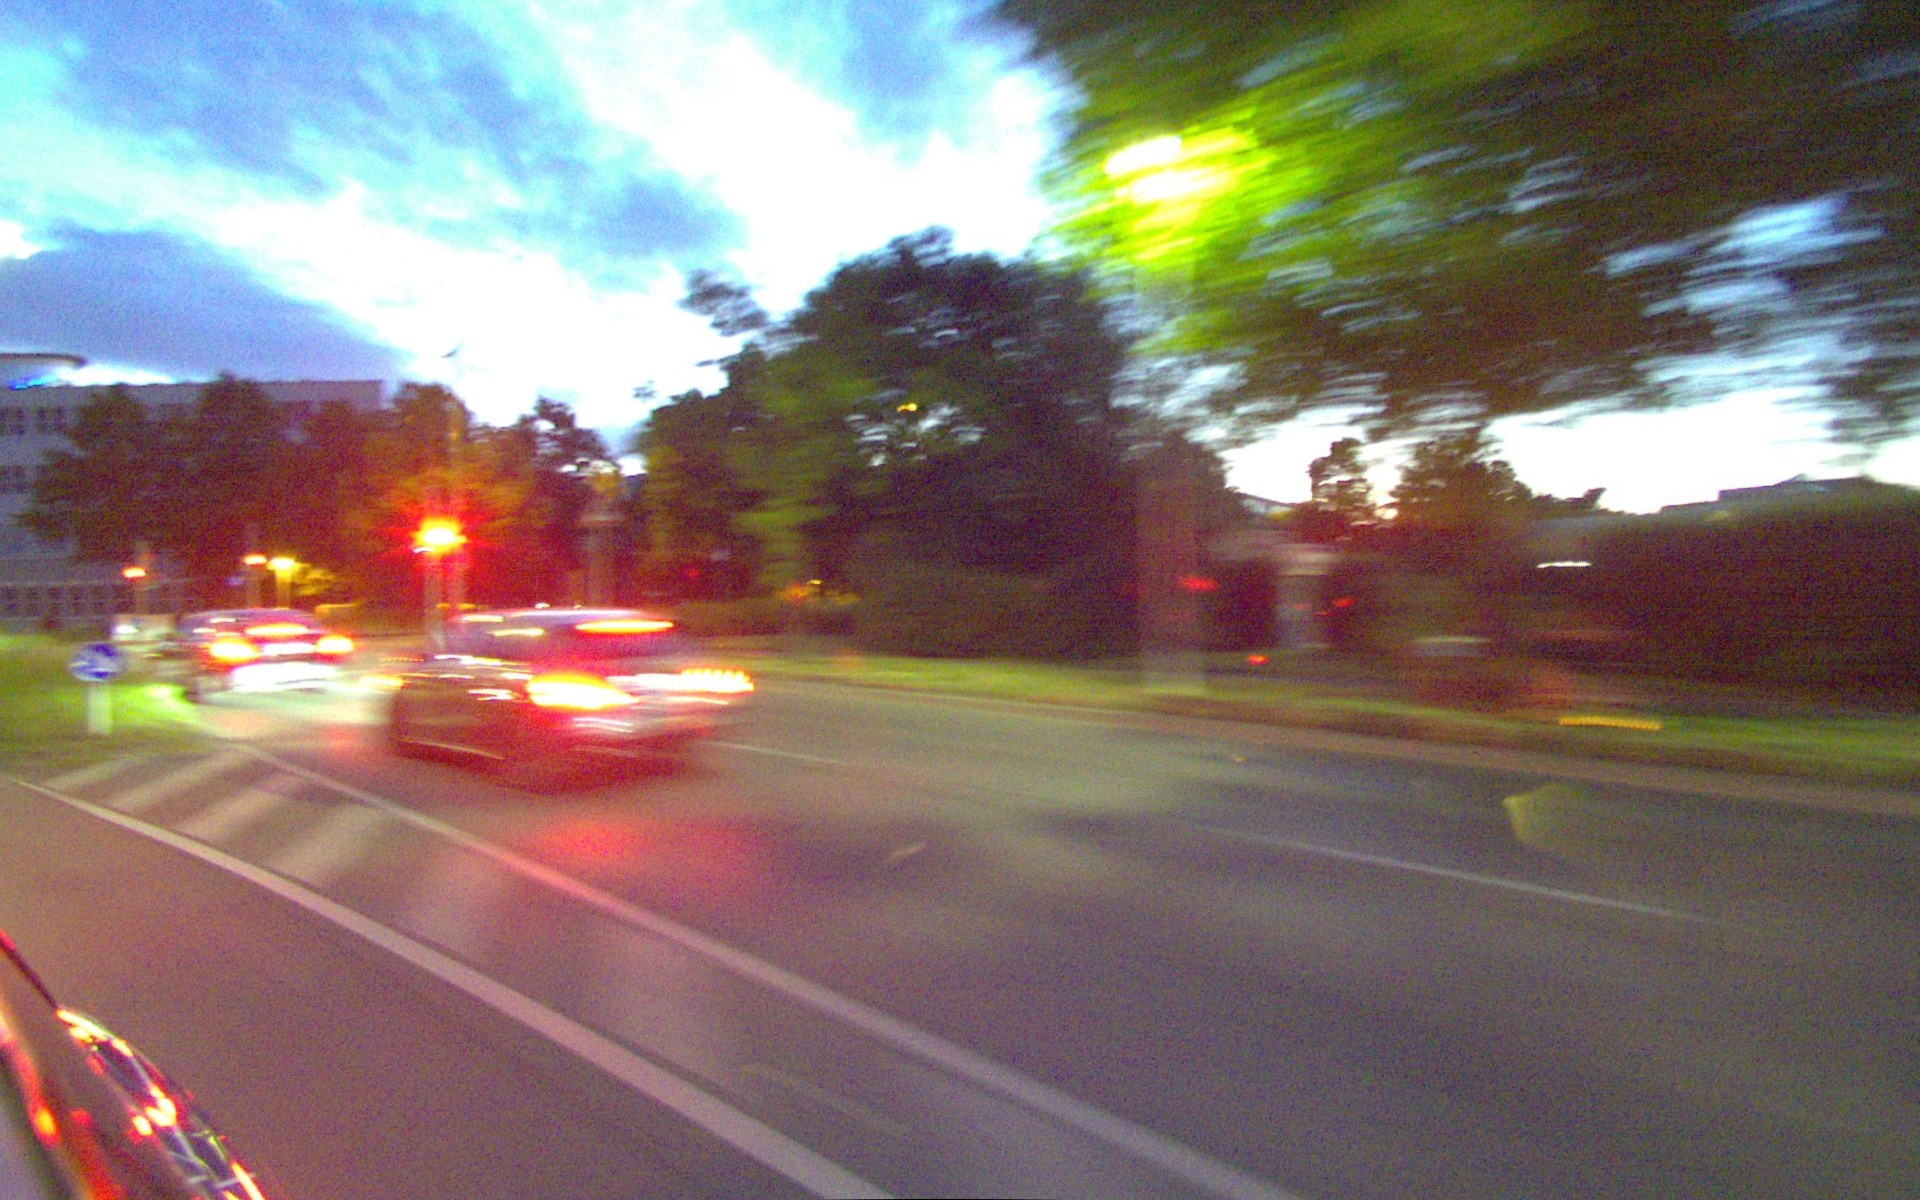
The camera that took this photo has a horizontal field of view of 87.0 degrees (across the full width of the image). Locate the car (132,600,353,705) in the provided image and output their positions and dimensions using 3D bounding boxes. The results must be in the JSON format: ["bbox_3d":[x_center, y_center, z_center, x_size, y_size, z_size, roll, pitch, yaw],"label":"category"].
[{"bbox_3d":[-11.755,0.763,16.468,4.521,1.456,1.742,-1,1,38],"label":"car"}]

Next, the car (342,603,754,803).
[{"bbox_3d":[-4.012,0.753,9.416,4.586,1.414,1.741,-1,0,42],"label":"car"}]
